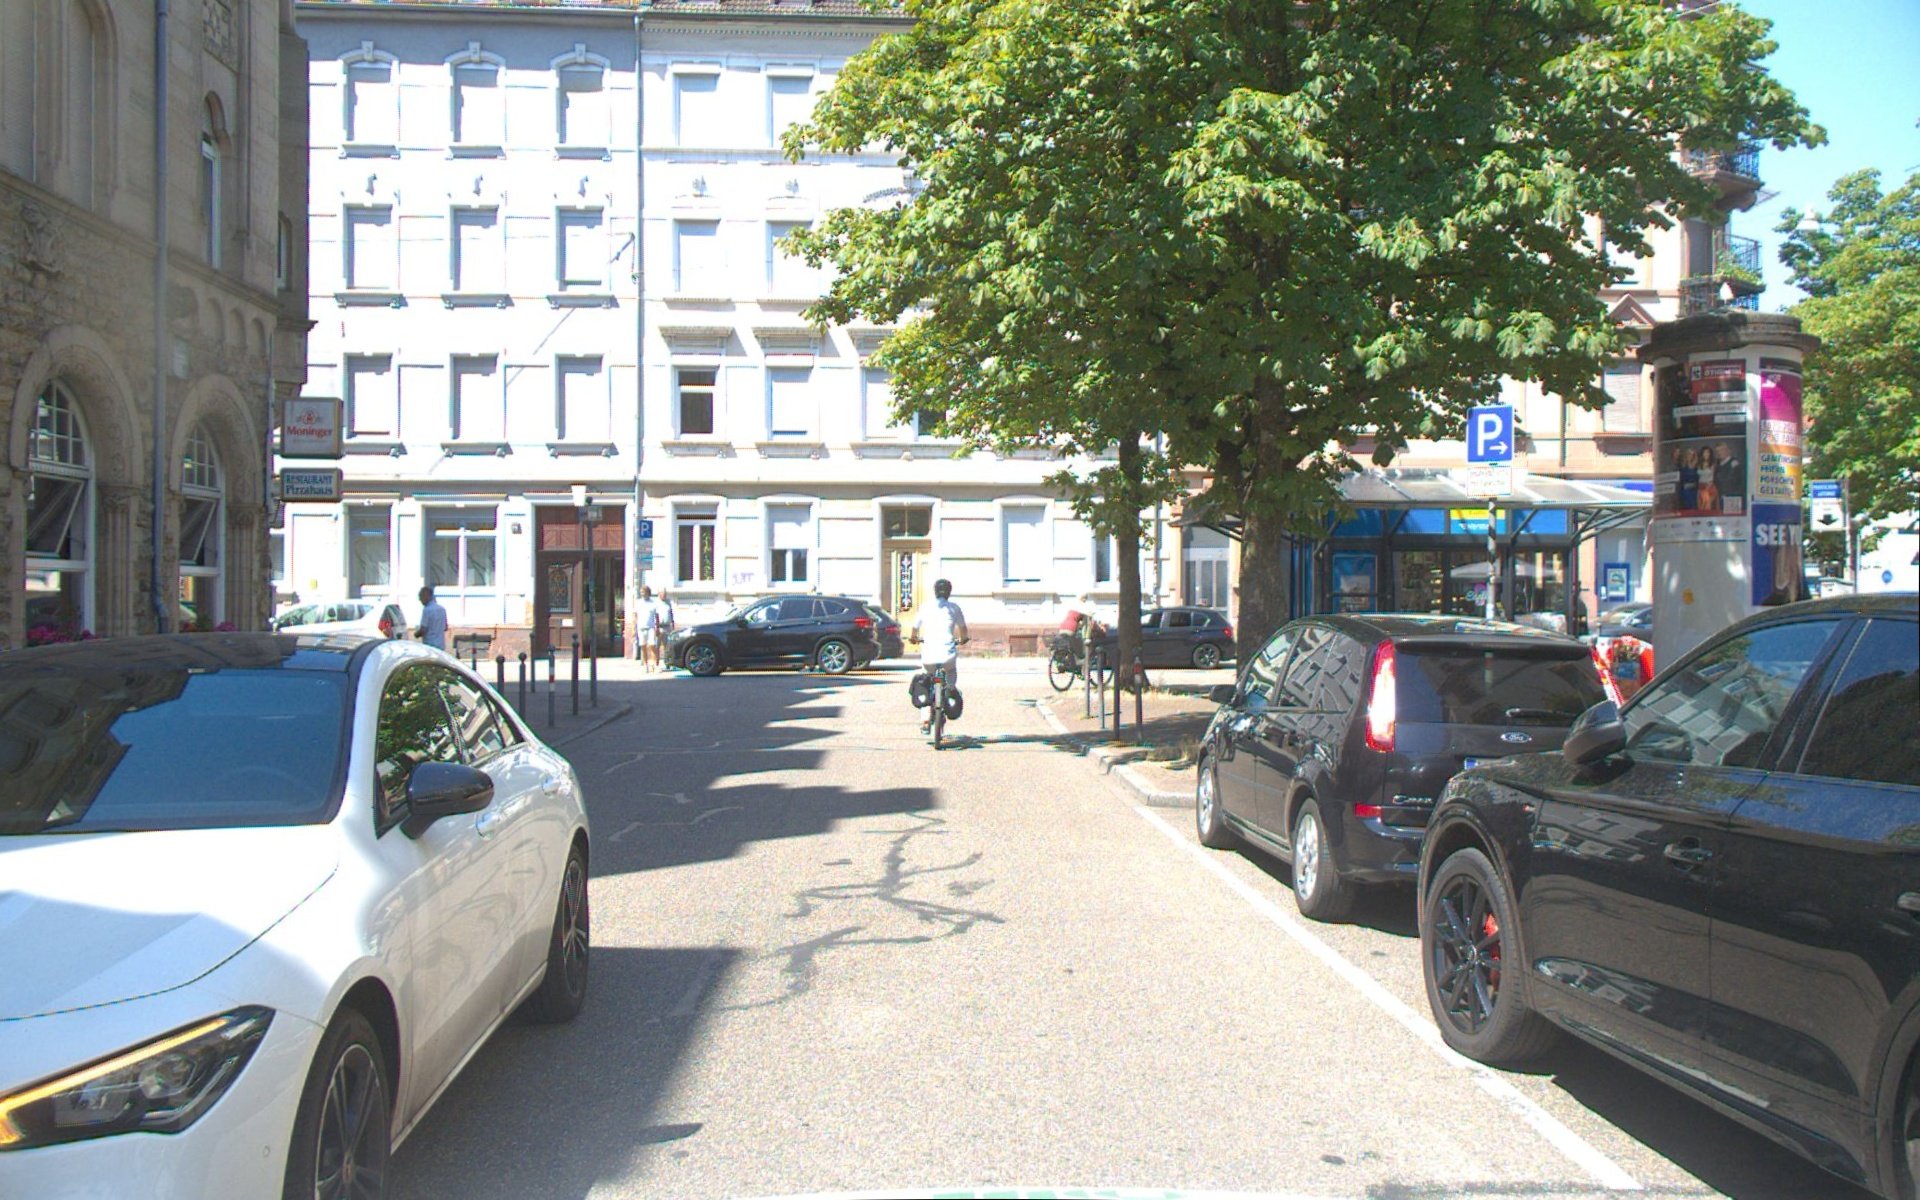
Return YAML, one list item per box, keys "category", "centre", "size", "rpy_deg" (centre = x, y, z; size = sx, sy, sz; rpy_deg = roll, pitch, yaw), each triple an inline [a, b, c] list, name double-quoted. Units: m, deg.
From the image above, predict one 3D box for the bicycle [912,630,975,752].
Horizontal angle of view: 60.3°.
- category: "bicycle"
  centre: [-0.209, 0.986, 18.780]
  size: [0.638, 1.250, 2.440]
  rpy_deg: [1, 0, -2]

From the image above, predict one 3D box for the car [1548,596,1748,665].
- category: "car"
  centre: [15.978, 0.700, 38.520]
  size: [3.908, 1.532, 1.777]
  rpy_deg: [-1, 0, -4]

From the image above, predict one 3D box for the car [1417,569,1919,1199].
- category: "car"
  centre: [2.832, 0.778, 4.400]
  size: [1.702, 1.624, 4.344]
  rpy_deg: [2, 0, -5]

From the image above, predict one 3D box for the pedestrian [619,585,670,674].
- category: "pedestrian"
  centre: [-6.957, 0.648, 36.455]
  size: [0.832, 1.922, 0.936]
  rpy_deg: [-1, -1, 8]

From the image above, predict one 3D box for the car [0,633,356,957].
- category: "car"
  centre: [-5.016, 0.942, 9.576]
  size: [1.668, 1.376, 4.510]
  rpy_deg: [-2, 0, -5]

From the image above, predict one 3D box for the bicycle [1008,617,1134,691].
- category: "bicycle"
  centre: [1.944, 0.935, 28.632]
  size: [2.420, 1.230, 0.644]
  rpy_deg: [2, -1, -42]

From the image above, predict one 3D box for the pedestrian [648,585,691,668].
- category: "pedestrian"
  centre: [-6.564, 0.596, 37.404]
  size: [0.884, 1.846, 0.959]
  rpy_deg: [-1, -1, -7]

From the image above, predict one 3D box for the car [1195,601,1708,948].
- category: "car"
  centre: [2.599, 0.825, 9.804]
  size: [1.630, 1.567, 4.176]
  rpy_deg: [2, 0, -2]

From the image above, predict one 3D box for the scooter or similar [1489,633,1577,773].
- category: "scooter or similar"
  centre: [5.037, 0.876, 14.502]
  size: [0.434, 1.156, 1.181]
  rpy_deg: [-1, -1, 34]

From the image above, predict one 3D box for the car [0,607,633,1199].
- category: "car"
  centre: [-2.187, 0.802, 4.629]
  size: [1.805, 1.486, 4.360]
  rpy_deg: [-2, 0, -3]

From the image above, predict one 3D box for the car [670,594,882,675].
- category: "car"
  centre: [-3.677, 0.689, 33.587]
  size: [4.139, 1.545, 1.806]
  rpy_deg: [-1, 0, -3]

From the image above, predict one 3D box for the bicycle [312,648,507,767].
- category: "bicycle"
  centre: [-5.247, 1.022, 15.814]
  size: [1.672, 1.063, 0.413]
  rpy_deg: [2, -1, -7]

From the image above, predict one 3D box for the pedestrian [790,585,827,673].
- category: "pedestrian"
  centre: [-3.288, 0.622, 35.963]
  size: [0.712, 1.886, 0.683]
  rpy_deg: [-1, -1, -12]

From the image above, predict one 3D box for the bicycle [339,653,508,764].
- category: "bicycle"
  centre: [-5.268, 1.065, 16.279]
  size: [1.496, 1.025, 0.366]
  rpy_deg: [2, -1, -7]

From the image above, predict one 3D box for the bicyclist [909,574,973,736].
- category: "bicyclist"
  centre: [-0.218, 0.613, 18.692]
  size: [0.657, 1.791, 0.609]
  rpy_deg: [2, -1, -2]

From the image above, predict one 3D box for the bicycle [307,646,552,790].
- category: "bicycle"
  centre: [-4.610, 1.028, 14.454]
  size: [1.934, 1.149, 0.394]
  rpy_deg: [3, -1, -7]

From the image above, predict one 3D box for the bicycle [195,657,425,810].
- category: "bicycle"
  centre: [-5.257, 1.070, 13.416]
  size: [1.670, 1.119, 0.291]
  rpy_deg: [-3, 0, -7]

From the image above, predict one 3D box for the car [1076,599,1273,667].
- category: "car"
  centre: [4.860, 0.737, 37.829]
  size: [4.208, 1.394, 1.806]
  rpy_deg: [-1, 2, -3]

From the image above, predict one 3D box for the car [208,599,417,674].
- category: "car"
  centre: [-14.411, 0.795, 36.985]
  size: [3.967, 1.589, 1.805]
  rpy_deg: [-1, 0, -4]

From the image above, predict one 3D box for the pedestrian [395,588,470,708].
- category: "pedestrian"
  centre: [-7.627, 0.688, 23.942]
  size: [0.840, 1.701, 0.774]
  rpy_deg: [-1, -1, -2]

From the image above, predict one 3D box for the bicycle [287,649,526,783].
- category: "bicycle"
  centre: [-4.956, 1.039, 14.892]
  size: [1.957, 1.149, 0.435]
  rpy_deg: [1, -1, -7]

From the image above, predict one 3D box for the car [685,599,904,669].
- category: "car"
  centre: [-3.661, 0.751, 37.285]
  size: [4.762, 1.462, 1.999]
  rpy_deg: [-1, 0, -3]

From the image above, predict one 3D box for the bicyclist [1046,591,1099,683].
- category: "bicyclist"
  centre: [1.947, 0.628, 28.620]
  size: [0.604, 1.560, 0.662]
  rpy_deg: [0, -1, -42]
